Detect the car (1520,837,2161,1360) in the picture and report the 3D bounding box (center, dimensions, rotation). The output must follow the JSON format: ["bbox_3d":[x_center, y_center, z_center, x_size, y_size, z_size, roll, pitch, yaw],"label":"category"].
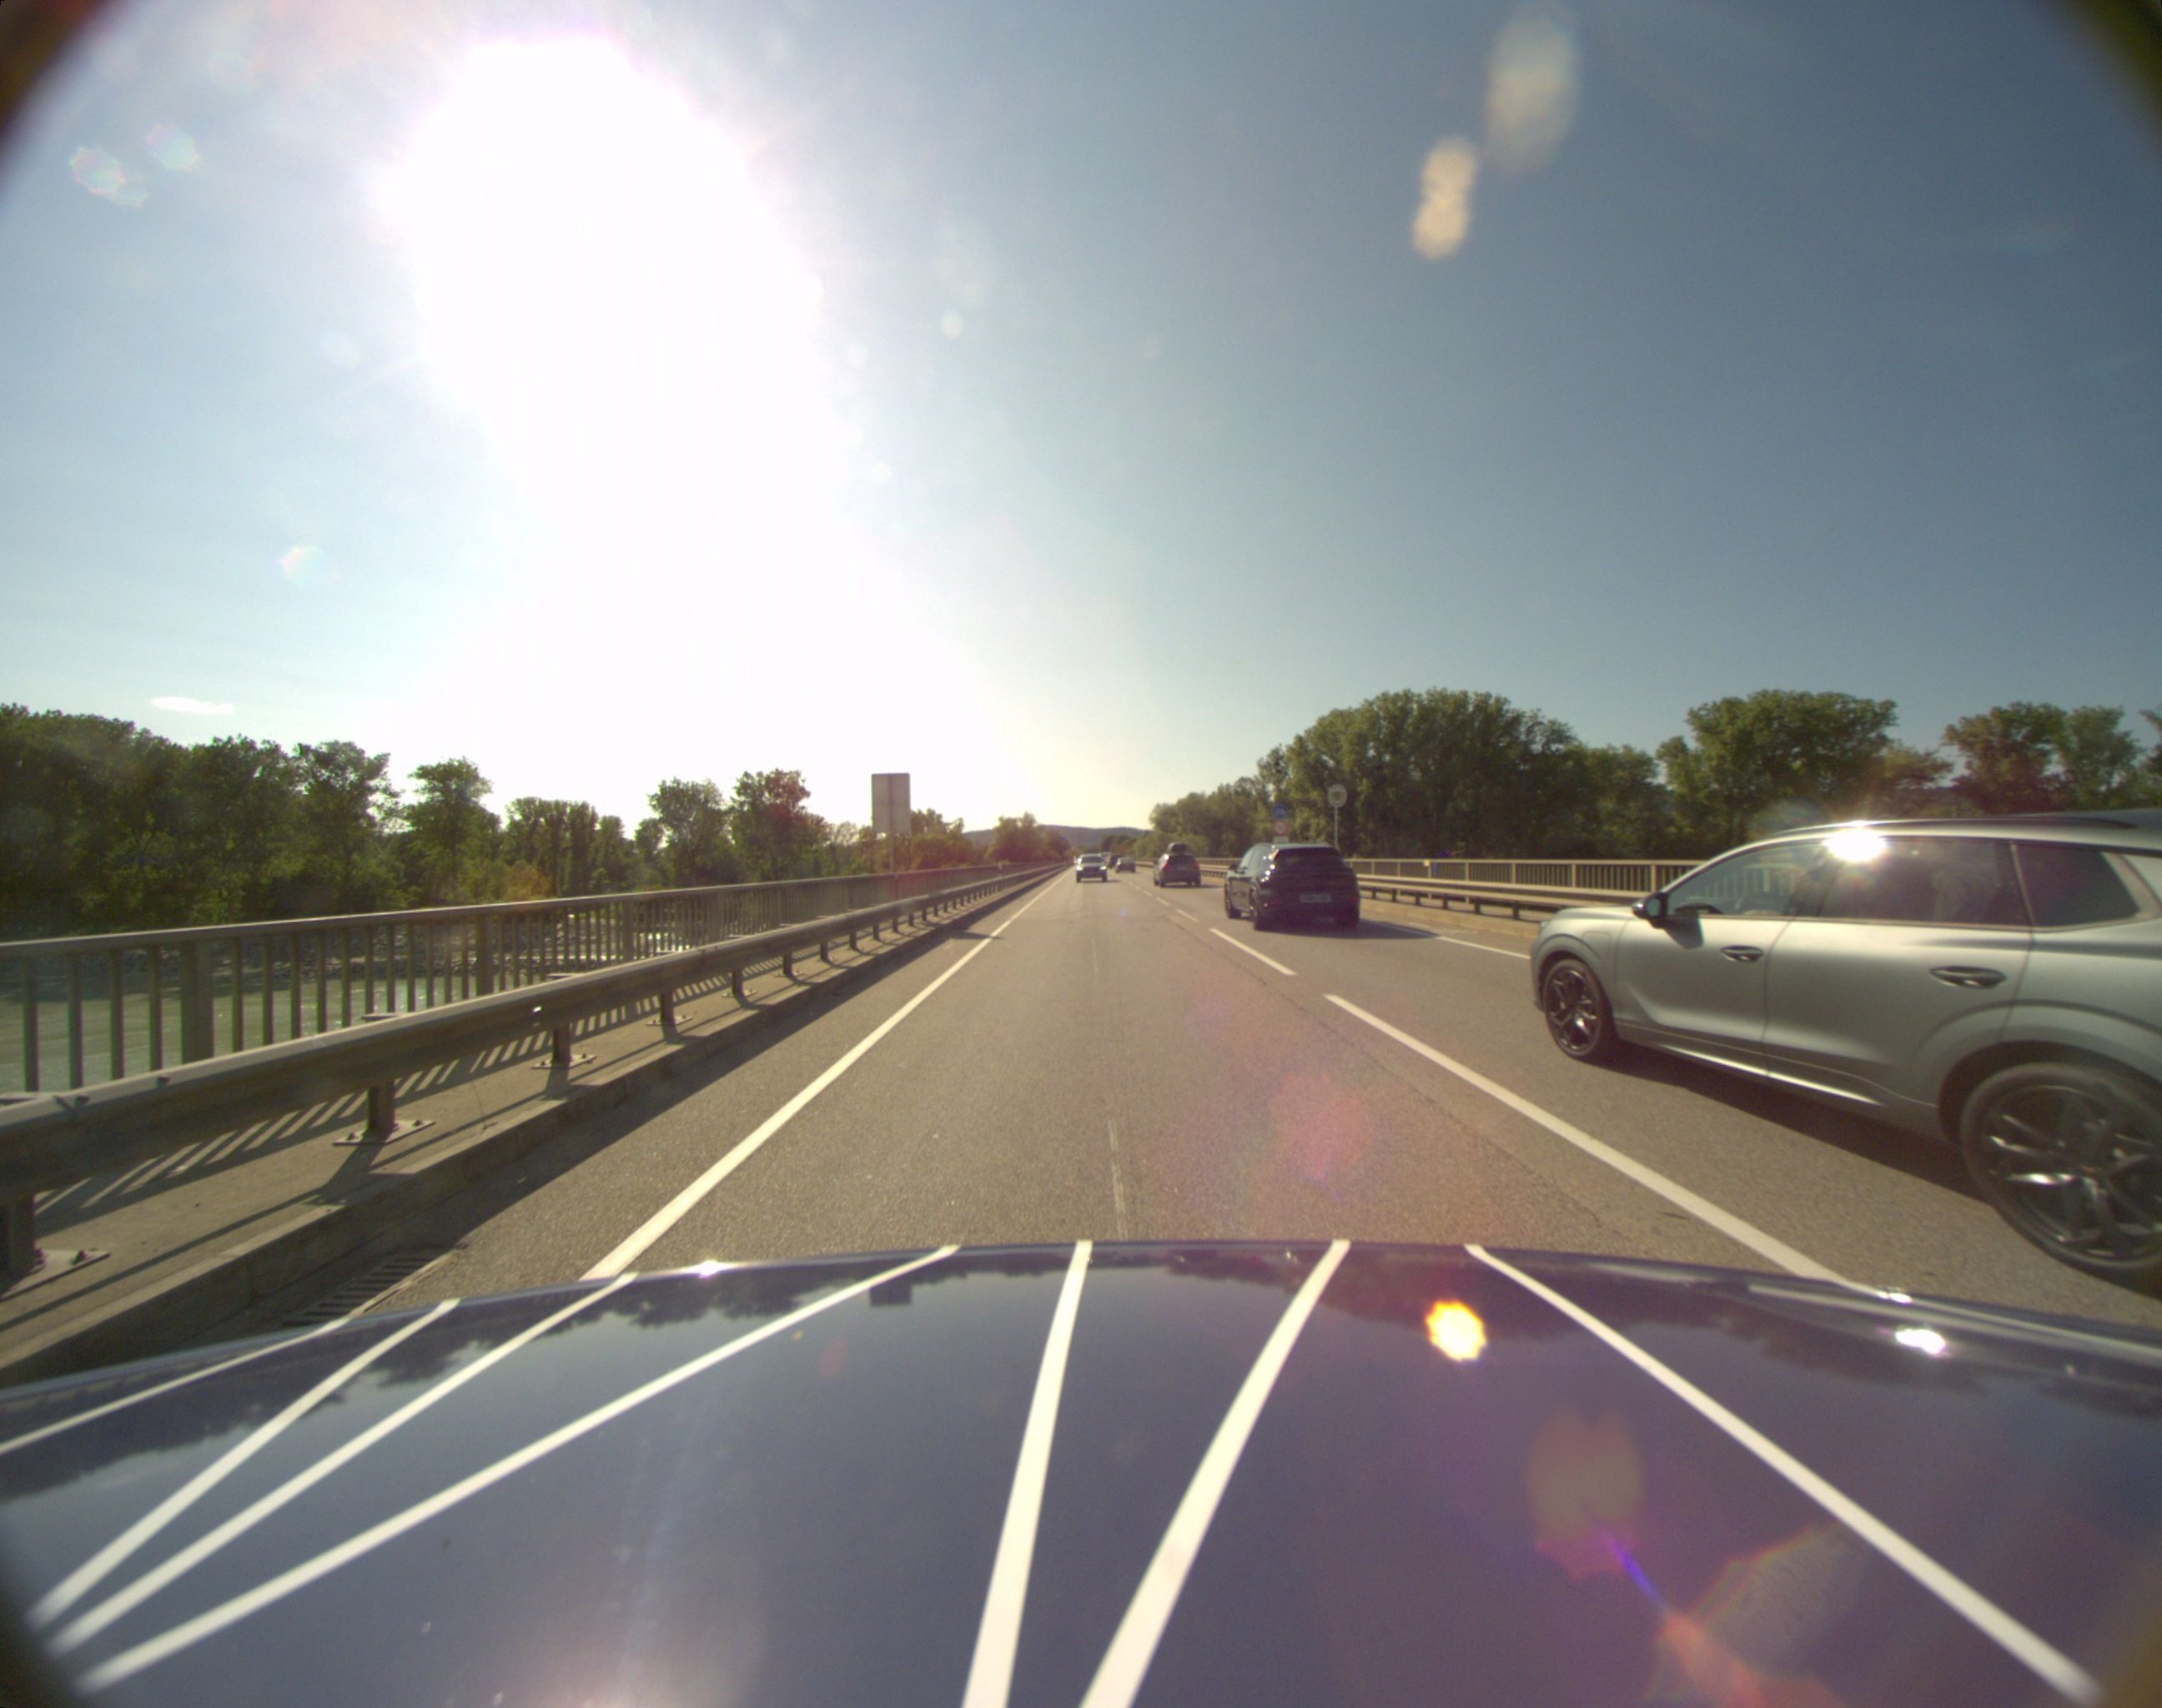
[{"bbox_3d":[4.195,0.733,3.600,1.811,1.568,4.201,-2,0,1],"label":"car"}]

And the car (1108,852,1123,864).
[{"bbox_3d":[5.402,0.613,118.930,1.988,1.641,4.598,-4,0,1],"label":"car"}]

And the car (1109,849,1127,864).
[{"bbox_3d":[4.868,0.346,99.643,2.042,1.863,5.069,-2,0,0],"label":"car"}]

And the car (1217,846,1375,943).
[{"bbox_3d":[4.339,0.719,16.196,2.058,1.643,4.721,-4,0,2],"label":"car"}]

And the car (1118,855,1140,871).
[{"bbox_3d":[4.607,0.892,73.630,1.770,1.439,4.456,-2,0,0],"label":"car"}]

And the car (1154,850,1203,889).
[{"bbox_3d":[4.688,0.706,37.128,1.859,1.712,4.566,-2,0,1],"label":"car"}]

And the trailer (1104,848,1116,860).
[{"bbox_3d":[6.439,-0.002,170.548,2.561,2.721,8.063,-2,0,2],"label":"trailer"}]

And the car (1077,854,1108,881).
[{"bbox_3d":[0.741,0.831,49.021,1.871,1.598,4.379,-2,0,1],"label":"car"}]
